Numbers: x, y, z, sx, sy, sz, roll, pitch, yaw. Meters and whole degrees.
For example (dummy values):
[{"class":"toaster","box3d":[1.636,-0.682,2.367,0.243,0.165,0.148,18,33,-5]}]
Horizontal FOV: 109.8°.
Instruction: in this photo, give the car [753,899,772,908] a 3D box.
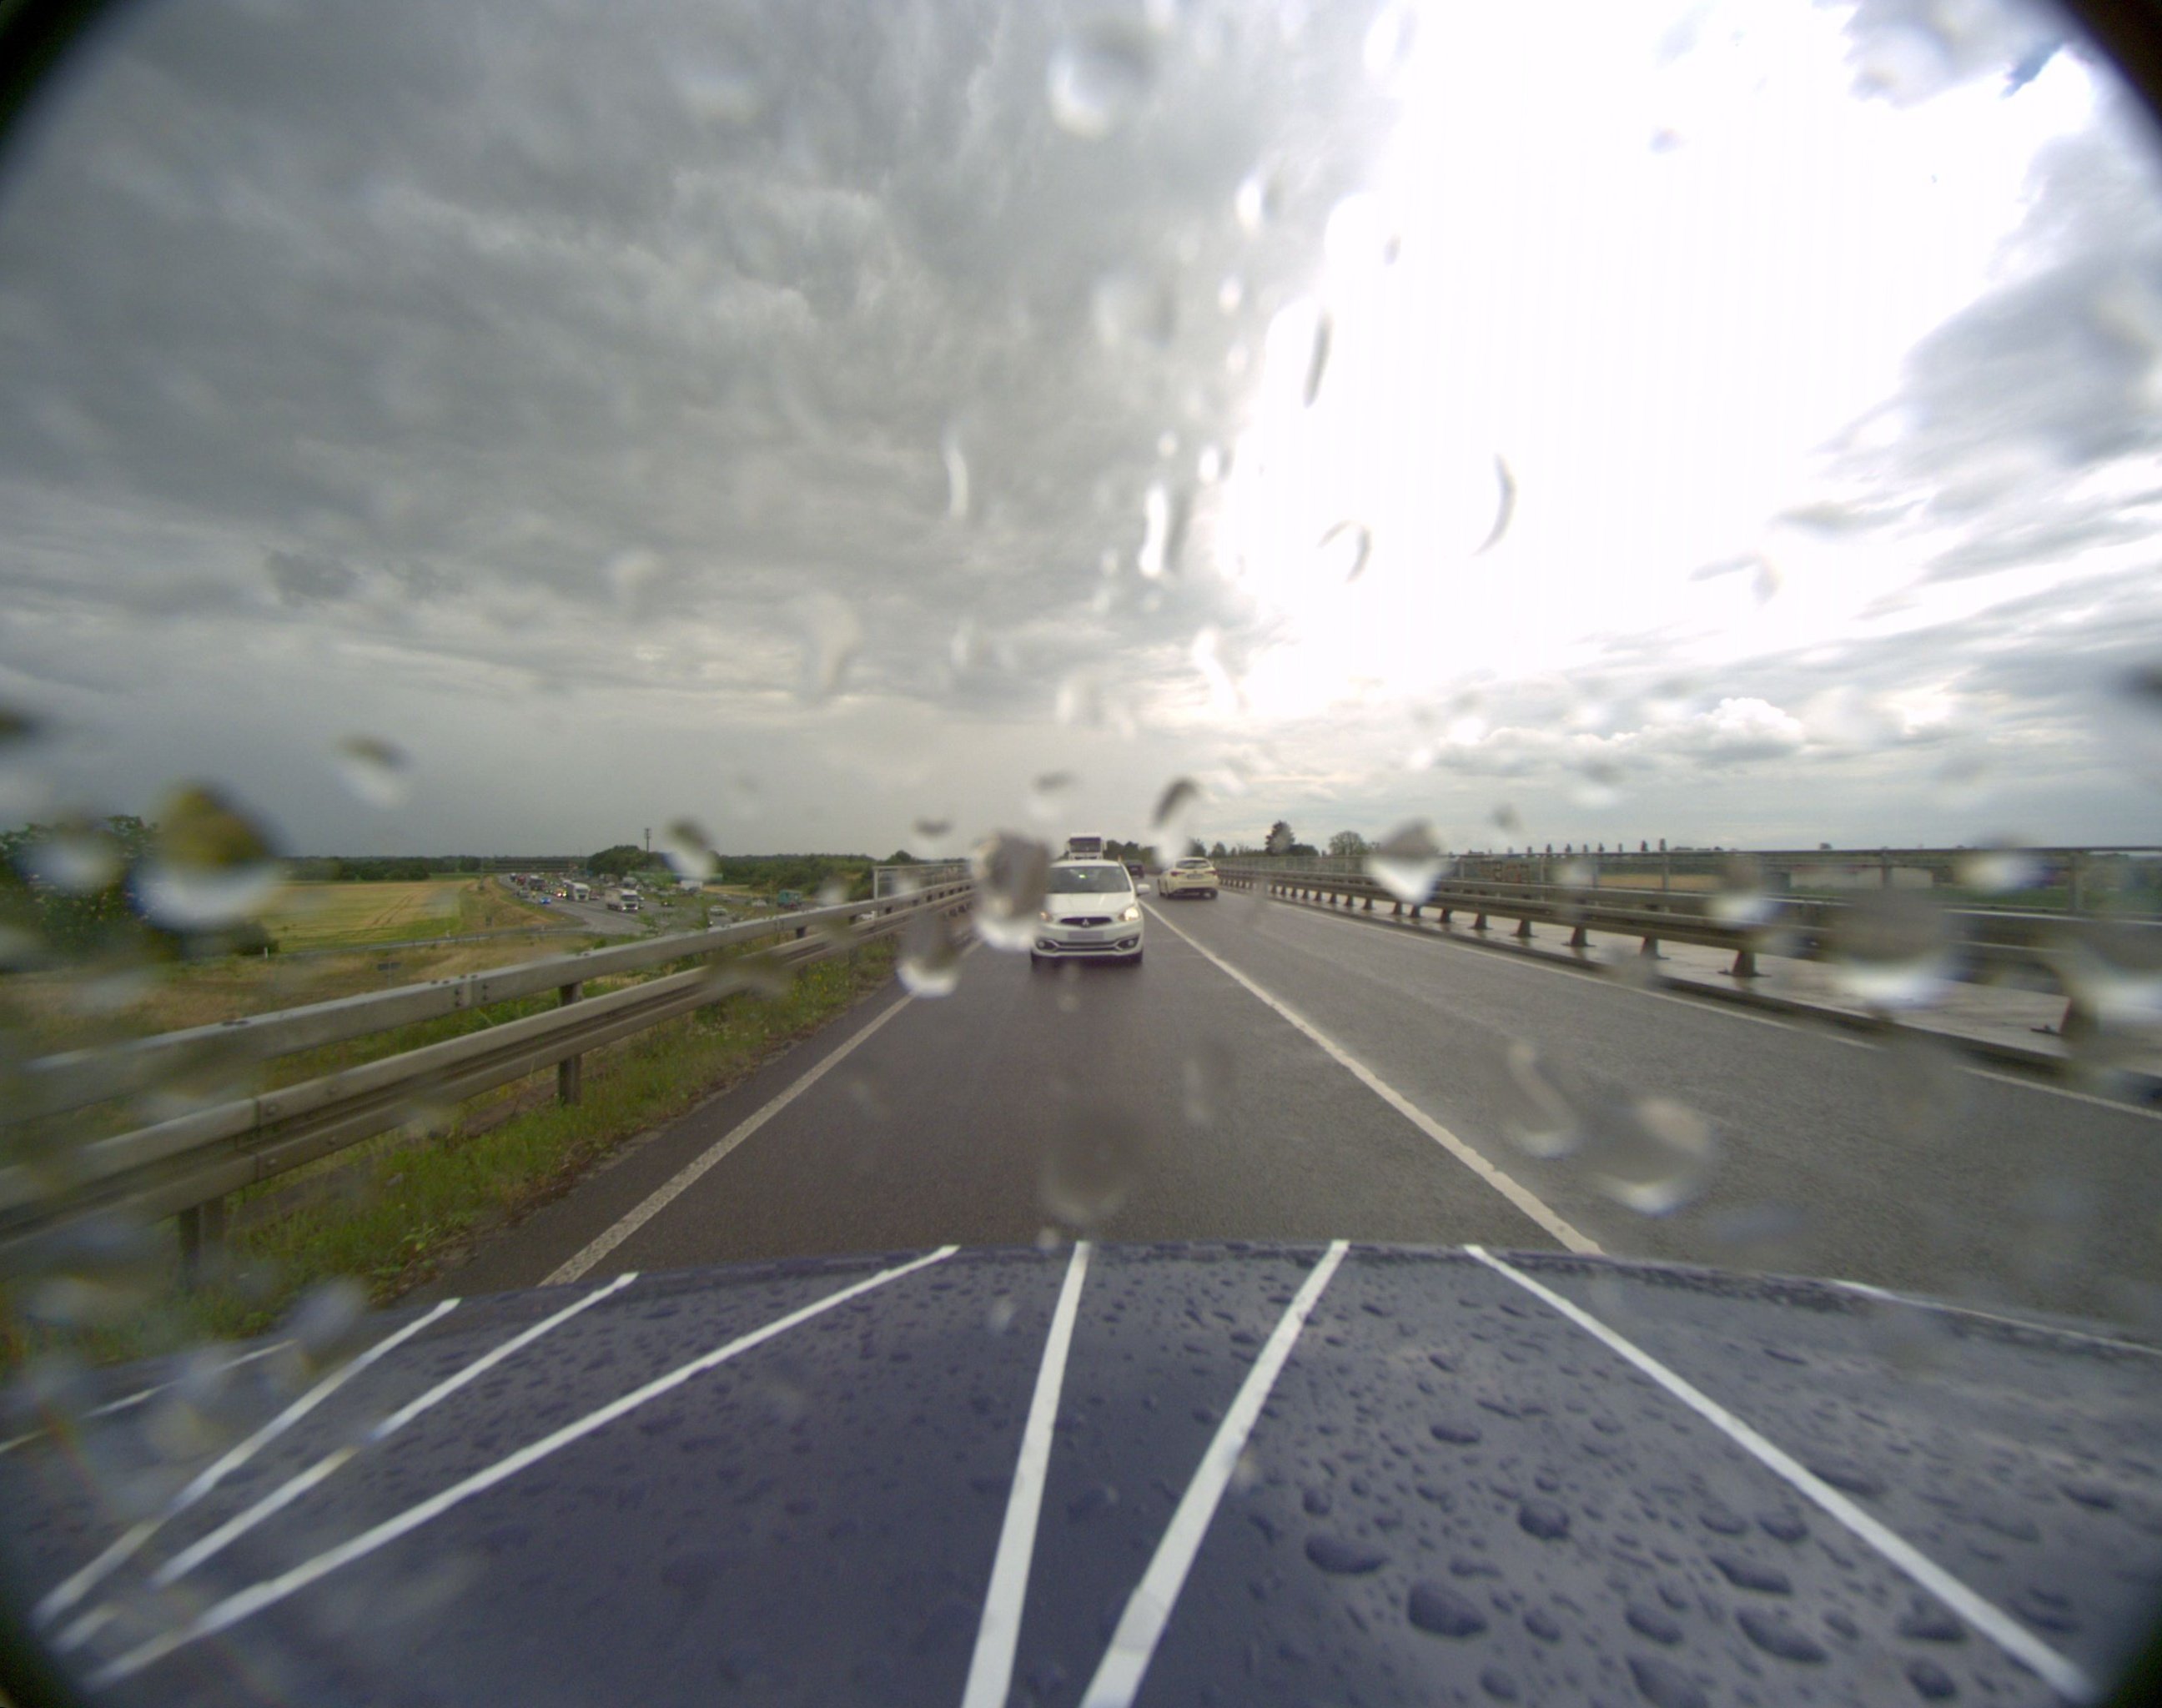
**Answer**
[{"class":"car","box3d":[-62.541,9.747,149.298,1.860,1.659,4.711,-2,0,-42]}]

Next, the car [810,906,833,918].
[{"class":"car","box3d":[-43.332,9.693,126.973,1.860,1.659,4.711,-2,0,-42]}]

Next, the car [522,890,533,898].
[{"class":"car","box3d":[-140.724,10.180,193.290,1.860,1.659,4.712,-2,0,-41]}]

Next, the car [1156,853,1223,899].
[{"class":"car","box3d":[3.879,0.759,27.864,1.814,1.500,4.611,-2,0,1]}]

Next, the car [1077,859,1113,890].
[{"class":"car","box3d":[0.657,0.967,37.489,1.675,1.366,4.129,-2,0,0]}]

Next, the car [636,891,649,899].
[{"class":"car","box3d":[-107.074,9.937,185.305,1.860,1.659,4.712,-2,0,-41]}]

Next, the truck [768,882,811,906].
[{"class":"truck","box3d":[-61.702,8.355,160.363,3.611,4.510,15.589,-2,0,-40]}]

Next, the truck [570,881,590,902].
[{"class":"truck","box3d":[-117.314,8.651,177.815,2.799,4.590,12.724,-2,0,-37]}]

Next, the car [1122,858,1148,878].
[{"class":"car","box3d":[4.291,1.085,60.739,1.701,1.424,4.323,-2,0,0]}]

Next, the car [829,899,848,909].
[{"class":"car","box3d":[-47.942,9.881,150.106,1.860,1.659,4.711,-2,0,-42]}]

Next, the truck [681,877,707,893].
[{"class":"truck","box3d":[-116.426,9.290,228.511,3.611,4.510,15.589,-2,0,-40]}]

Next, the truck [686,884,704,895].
[{"class":"truck","box3d":[-107.356,9.866,211.152,2.216,2.948,9.284,-2,0,-41]}]

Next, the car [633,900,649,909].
[{"class":"car","box3d":[-86.172,9.871,148.793,1.860,1.659,4.712,-2,0,-41]}]

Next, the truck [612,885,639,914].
[{"class":"truck","box3d":[-84.106,8.251,140.106,2.799,4.871,12.724,-2,0,-37]}]

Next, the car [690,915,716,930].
[{"class":"car","box3d":[-50.307,9.065,101.079,1.860,1.659,4.712,-2,0,-41]}]

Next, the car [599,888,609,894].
[{"class":"car","box3d":[-136.648,10.550,217.692,1.860,1.659,4.712,-2,0,-41]}]

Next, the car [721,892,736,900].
[{"class":"car","box3d":[-82.615,9.830,178.066,1.860,1.659,4.712,-2,0,-41]}]

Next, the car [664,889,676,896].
[{"class":"car","box3d":[-111.182,10.418,205.746,1.860,1.659,4.712,-2,0,-41]}]

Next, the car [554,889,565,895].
[{"class":"car","box3d":[-143.677,10.440,209.344,1.860,1.659,4.712,-2,0,-41]}]

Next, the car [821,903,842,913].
[{"class":"car","box3d":[-45.850,9.869,139.668,1.860,1.659,4.711,-2,0,-42]}]

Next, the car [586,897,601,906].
[{"class":"car","box3d":[-100.629,9.803,156.780,1.860,1.659,4.712,-2,0,-41]}]

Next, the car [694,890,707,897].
[{"class":"car","box3d":[-97.485,10.045,194.550,1.860,1.659,4.712,-2,0,-41]}]

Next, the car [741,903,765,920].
[{"class":"car","box3d":[-47.856,8.406,110.759,2.002,2.002,3.992,-9,0,-39]}]

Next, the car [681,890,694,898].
[{"class":"car","box3d":[-98.603,9.996,190.453,1.860,1.659,4.712,-2,0,-41]}]

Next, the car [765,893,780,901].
[{"class":"car","box3d":[-71.816,9.934,176.866,1.860,1.659,4.712,-2,0,-41]}]

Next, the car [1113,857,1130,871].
[{"class":"car","box3d":[4.769,1.168,88.997,1.718,1.508,3.859,-2,1,0]}]

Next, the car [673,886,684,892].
[{"class":"car","box3d":[-121.012,10.611,228.425,1.860,1.659,4.712,-2,0,-41]}]

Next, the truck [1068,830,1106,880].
[{"class":"truck","box3d":[0.339,-0.076,58.534,2.631,3.536,8.474,-2,2,-1]}]

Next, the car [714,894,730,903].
[{"class":"car","box3d":[-79.320,9.831,167.876,1.860,1.659,4.712,-2,0,-41]}]

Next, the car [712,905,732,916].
[{"class":"car","box3d":[-63.161,9.941,133.694,2.003,1.613,3.990,-8,2,-41]}]

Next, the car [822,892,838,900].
[{"class":"car","box3d":[-59.658,9.963,180.676,1.860,1.659,4.712,-2,0,-41]}]

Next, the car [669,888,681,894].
[{"class":"car","box3d":[-114.990,10.461,215.199,1.860,1.659,4.712,-2,0,-41]}]

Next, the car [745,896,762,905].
[{"class":"car","box3d":[-69.902,9.913,162.040,1.860,1.659,4.712,-2,0,-41]}]

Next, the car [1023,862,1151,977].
[{"class":"car","box3d":[0.078,0.904,12.295,1.675,1.476,4.129,-2,0,0]}]

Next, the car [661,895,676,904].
[{"class":"car","box3d":[-87.519,9.707,161.187,1.860,1.659,4.712,-2,0,-41]}]

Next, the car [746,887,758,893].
[{"class":"car","box3d":[-96.120,10.612,221.885,1.860,1.659,4.712,-2,0,-41]}]

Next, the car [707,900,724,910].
[{"class":"car","box3d":[-69.347,9.602,144.110,1.860,1.659,4.712,-2,0,-41]}]

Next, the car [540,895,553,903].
[{"class":"car","box3d":[-115.627,9.685,164.310,1.818,1.427,4.712,-2,0,-42]}]

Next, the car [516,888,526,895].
[{"class":"car","box3d":[-149.567,10.011,202.994,1.860,1.659,4.712,-2,0,-41]}]

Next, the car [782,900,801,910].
[{"class":"car","box3d":[-55.694,9.854,146.023,1.860,1.659,4.711,-2,0,-42]}]

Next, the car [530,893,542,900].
[{"class":"car","box3d":[-133.124,10.383,185.632,1.860,1.659,4.712,-2,0,-41]}]
